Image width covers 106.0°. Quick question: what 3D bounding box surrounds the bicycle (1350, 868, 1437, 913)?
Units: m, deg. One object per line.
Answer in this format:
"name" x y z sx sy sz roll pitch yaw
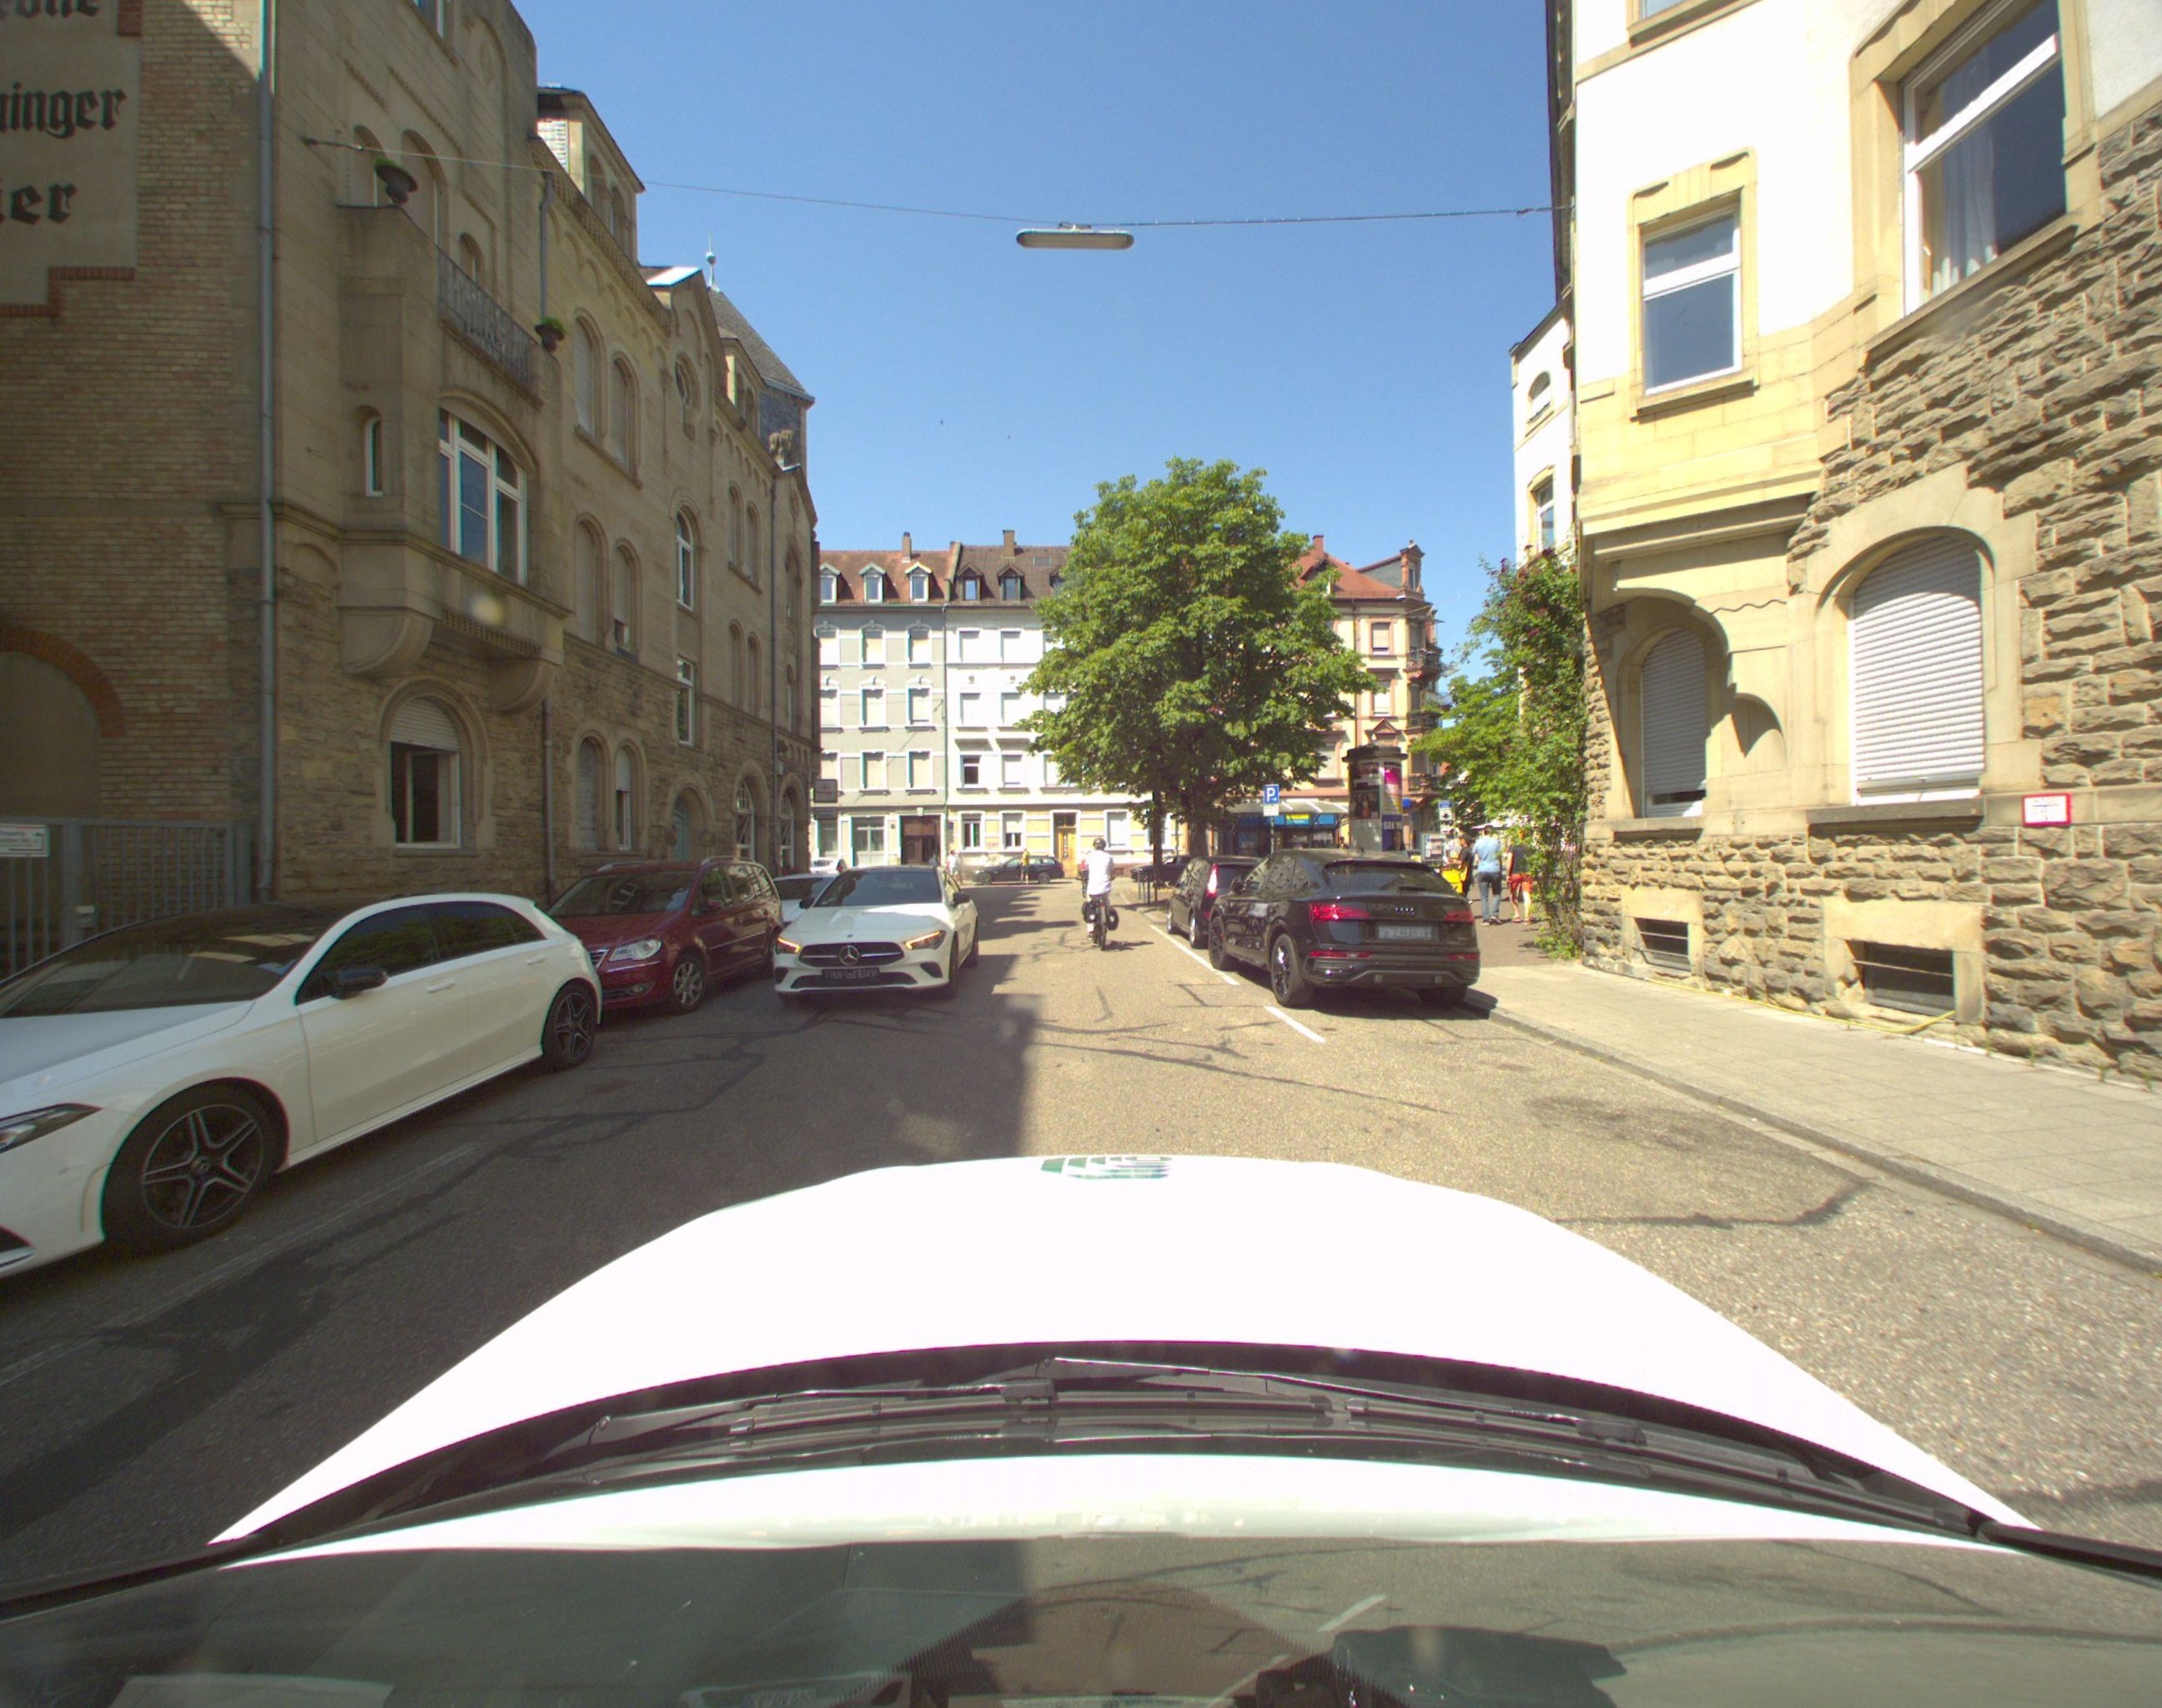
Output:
"bicycle" 7.734 0.891 20.186 1.895 1.039 0.633 -2 -1 -2

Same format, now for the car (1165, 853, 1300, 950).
"car" 2.684 0.782 15.316 1.658 1.540 4.175 1 0 -1

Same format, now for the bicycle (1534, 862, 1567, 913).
"bicycle" 10.247 0.706 17.752 0.542 1.039 1.848 -2 0 31

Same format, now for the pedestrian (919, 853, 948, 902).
"pedestrian" -5.148 0.812 28.397 0.855 1.672 0.773 -1 -1 -2

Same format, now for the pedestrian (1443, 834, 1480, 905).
"pedestrian" 9.795 0.380 20.968 0.753 1.794 0.576 -1 -1 -40

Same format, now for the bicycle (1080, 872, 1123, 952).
"bicycle" 0.330 0.962 14.251 0.650 1.228 2.440 1 0 -1

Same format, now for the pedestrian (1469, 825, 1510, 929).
"pedestrian" 7.572 0.419 15.110 0.515 1.869 0.656 -1 -1 13

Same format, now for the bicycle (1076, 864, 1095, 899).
"bicycle" 0.164 0.966 29.559 0.650 1.209 2.440 1 0 0

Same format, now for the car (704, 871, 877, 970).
"car" -4.973 1.059 14.642 1.698 1.352 4.508 -3 0 -4

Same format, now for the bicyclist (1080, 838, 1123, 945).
"bicyclist" 0.341 0.619 13.820 0.668 1.760 0.609 1 -1 -1

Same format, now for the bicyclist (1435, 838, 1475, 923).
"bicyclist" 7.498 0.517 16.305 0.671 1.647 0.666 -2 -1 26

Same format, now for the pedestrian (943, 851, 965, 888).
"pedestrian" -6.518 0.784 41.779 0.845 1.889 0.937 -1 -1 9

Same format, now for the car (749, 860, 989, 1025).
"car" -2.265 0.857 9.940 1.836 1.461 4.359 -3 0 -2

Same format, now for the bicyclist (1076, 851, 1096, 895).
"bicyclist" 0.172 0.682 29.388 0.668 1.533 0.609 -1 -1 -1

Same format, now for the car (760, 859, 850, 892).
"car" -14.249 1.111 42.201 4.038 1.562 1.805 -1 0 -4

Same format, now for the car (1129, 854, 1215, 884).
"car" 4.776 0.777 42.946 4.283 1.370 1.806 -1 2 -2

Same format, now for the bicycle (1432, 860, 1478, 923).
"bicycle" 7.749 0.737 16.884 0.786 1.169 2.593 -2 0 25

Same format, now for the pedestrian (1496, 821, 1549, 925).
"pedestrian" 8.220 0.351 15.183 0.595 1.880 0.885 -1 -1 10

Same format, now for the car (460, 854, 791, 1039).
"car" -4.858 0.851 9.446 1.669 1.583 4.048 -3 0 -3

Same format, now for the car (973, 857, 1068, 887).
"car" -3.109 0.916 42.545 4.847 1.437 1.998 -1 0 -2

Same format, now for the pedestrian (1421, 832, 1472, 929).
"pedestrian" 6.784 0.476 15.150 0.636 1.752 0.614 -1 -1 1

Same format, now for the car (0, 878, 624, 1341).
"car" -4.663 0.964 4.697 1.773 1.460 4.273 -3 0 -4

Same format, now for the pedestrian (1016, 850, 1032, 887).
"pedestrian" -2.893 0.744 41.276 0.725 1.853 0.682 -1 -1 -12

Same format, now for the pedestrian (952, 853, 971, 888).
"pedestrian" -6.254 0.875 42.779 0.900 1.814 0.958 -1 -1 -7

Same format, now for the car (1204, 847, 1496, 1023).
"car" 2.820 0.763 9.668 1.733 1.597 4.340 1 0 -5
